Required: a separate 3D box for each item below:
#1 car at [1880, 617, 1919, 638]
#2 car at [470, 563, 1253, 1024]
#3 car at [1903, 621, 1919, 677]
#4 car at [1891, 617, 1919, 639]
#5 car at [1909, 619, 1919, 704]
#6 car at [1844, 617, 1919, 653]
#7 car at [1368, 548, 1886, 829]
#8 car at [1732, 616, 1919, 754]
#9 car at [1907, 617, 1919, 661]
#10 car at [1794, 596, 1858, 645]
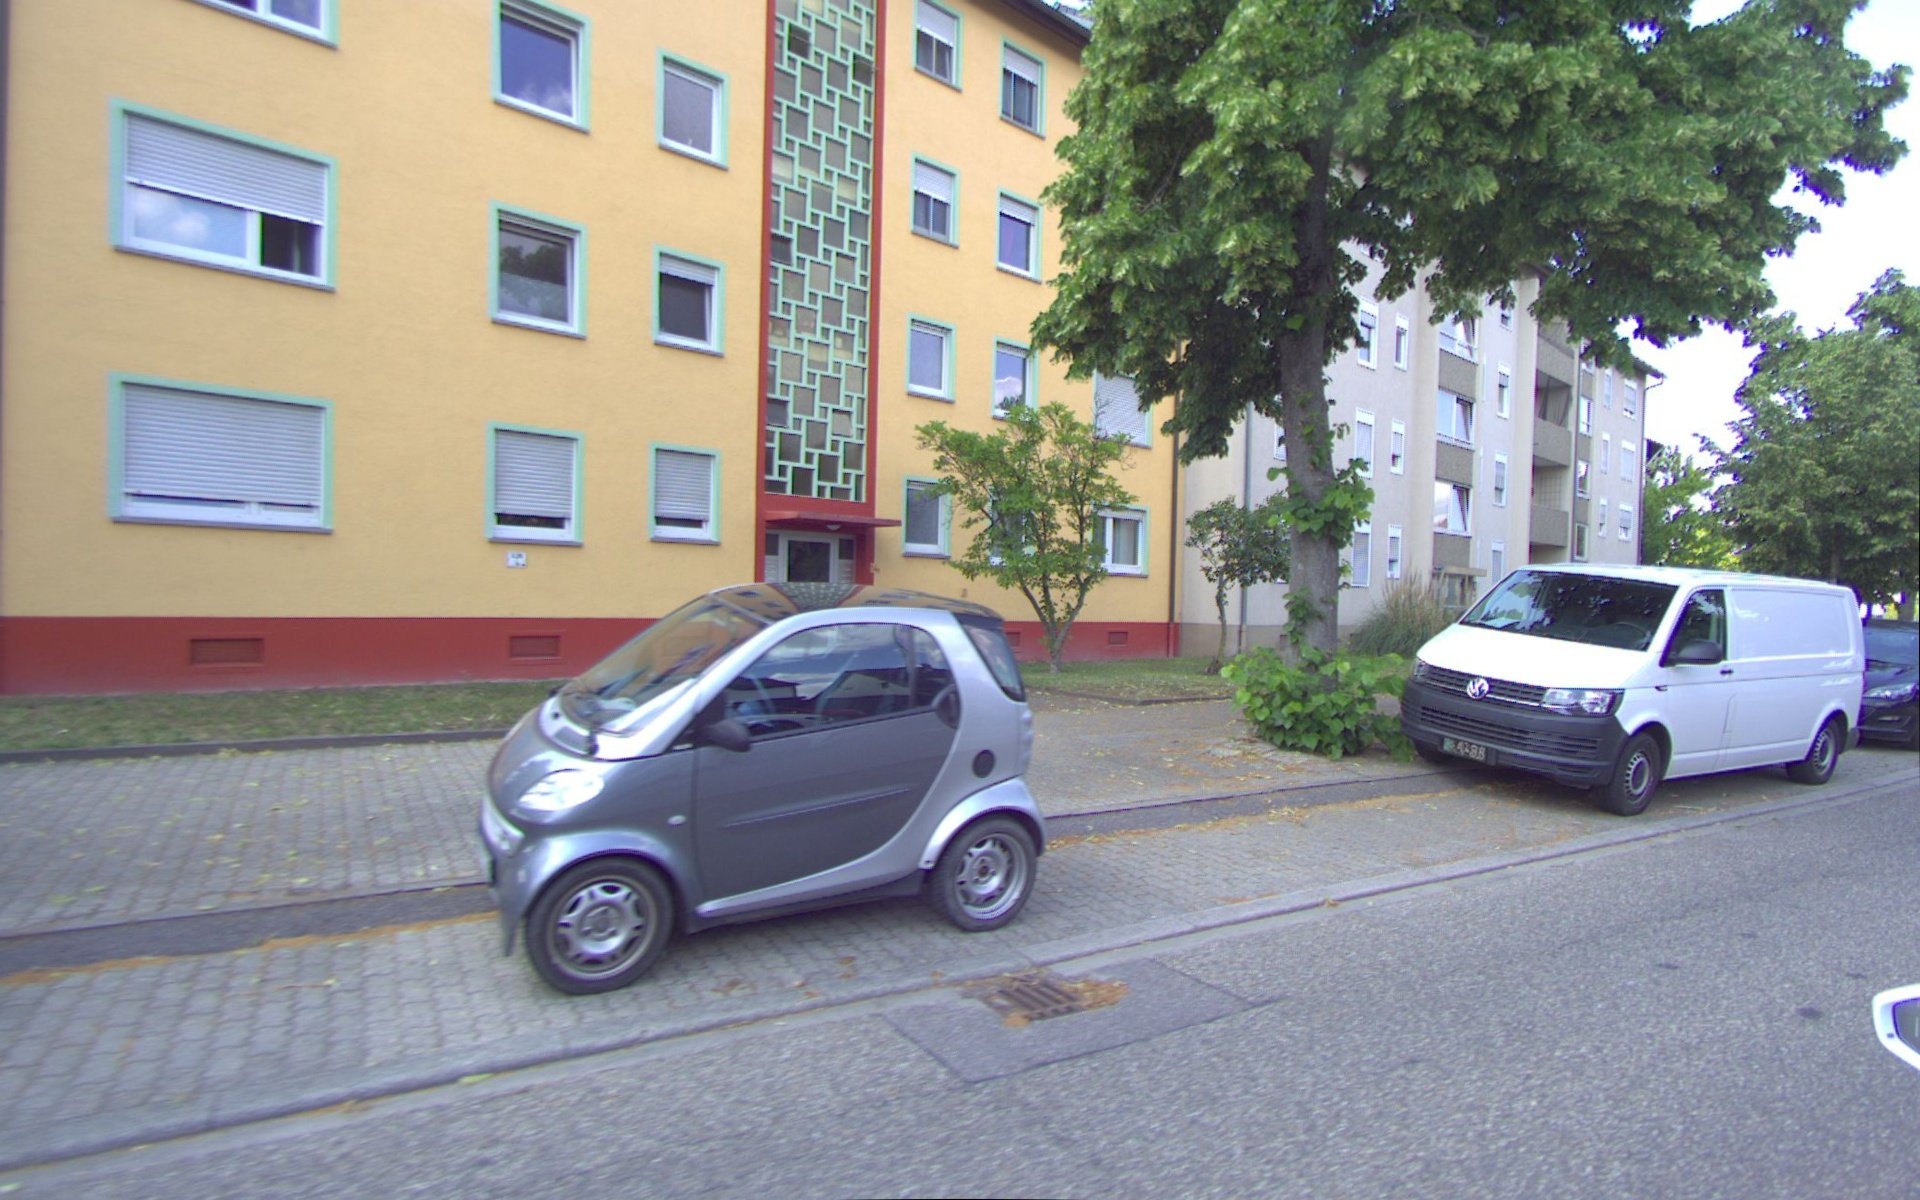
[{"bbox_3d":[73.968,2.141,78.945,1.770,1.544,3.963,2,0,33],"label":"car"},{"bbox_3d":[-0.410,0.703,5.208,3.713,1.570,1.509,1,6,-31],"label":"car"},{"bbox_3d":[26.856,1.352,27.030,4.062,1.458,1.819,1,3,-43],"label":"car"},{"bbox_3d":[71.413,2.104,75.215,1.770,1.544,3.963,2,0,33],"label":"car"},{"bbox_3d":[19.166,1.165,18.757,4.003,1.509,1.744,1,2,-42],"label":"car"},{"bbox_3d":[43.735,1.622,47.712,1.761,1.477,4.425,6,3,31],"label":"car"},{"bbox_3d":[6.375,0.640,9.409,5.260,2.036,1.870,1,2,-31],"label":"car"},{"bbox_3d":[12.230,1.020,13.375,4.457,1.509,1.749,1,1,-34],"label":"car"},{"bbox_3d":[34.737,1.423,35.225,1.738,1.509,4.325,4,2,38],"label":"car"},{"bbox_3d":[50.361,1.157,58.530,2.036,2.534,5.821,6,3,35],"label":"car"}]
